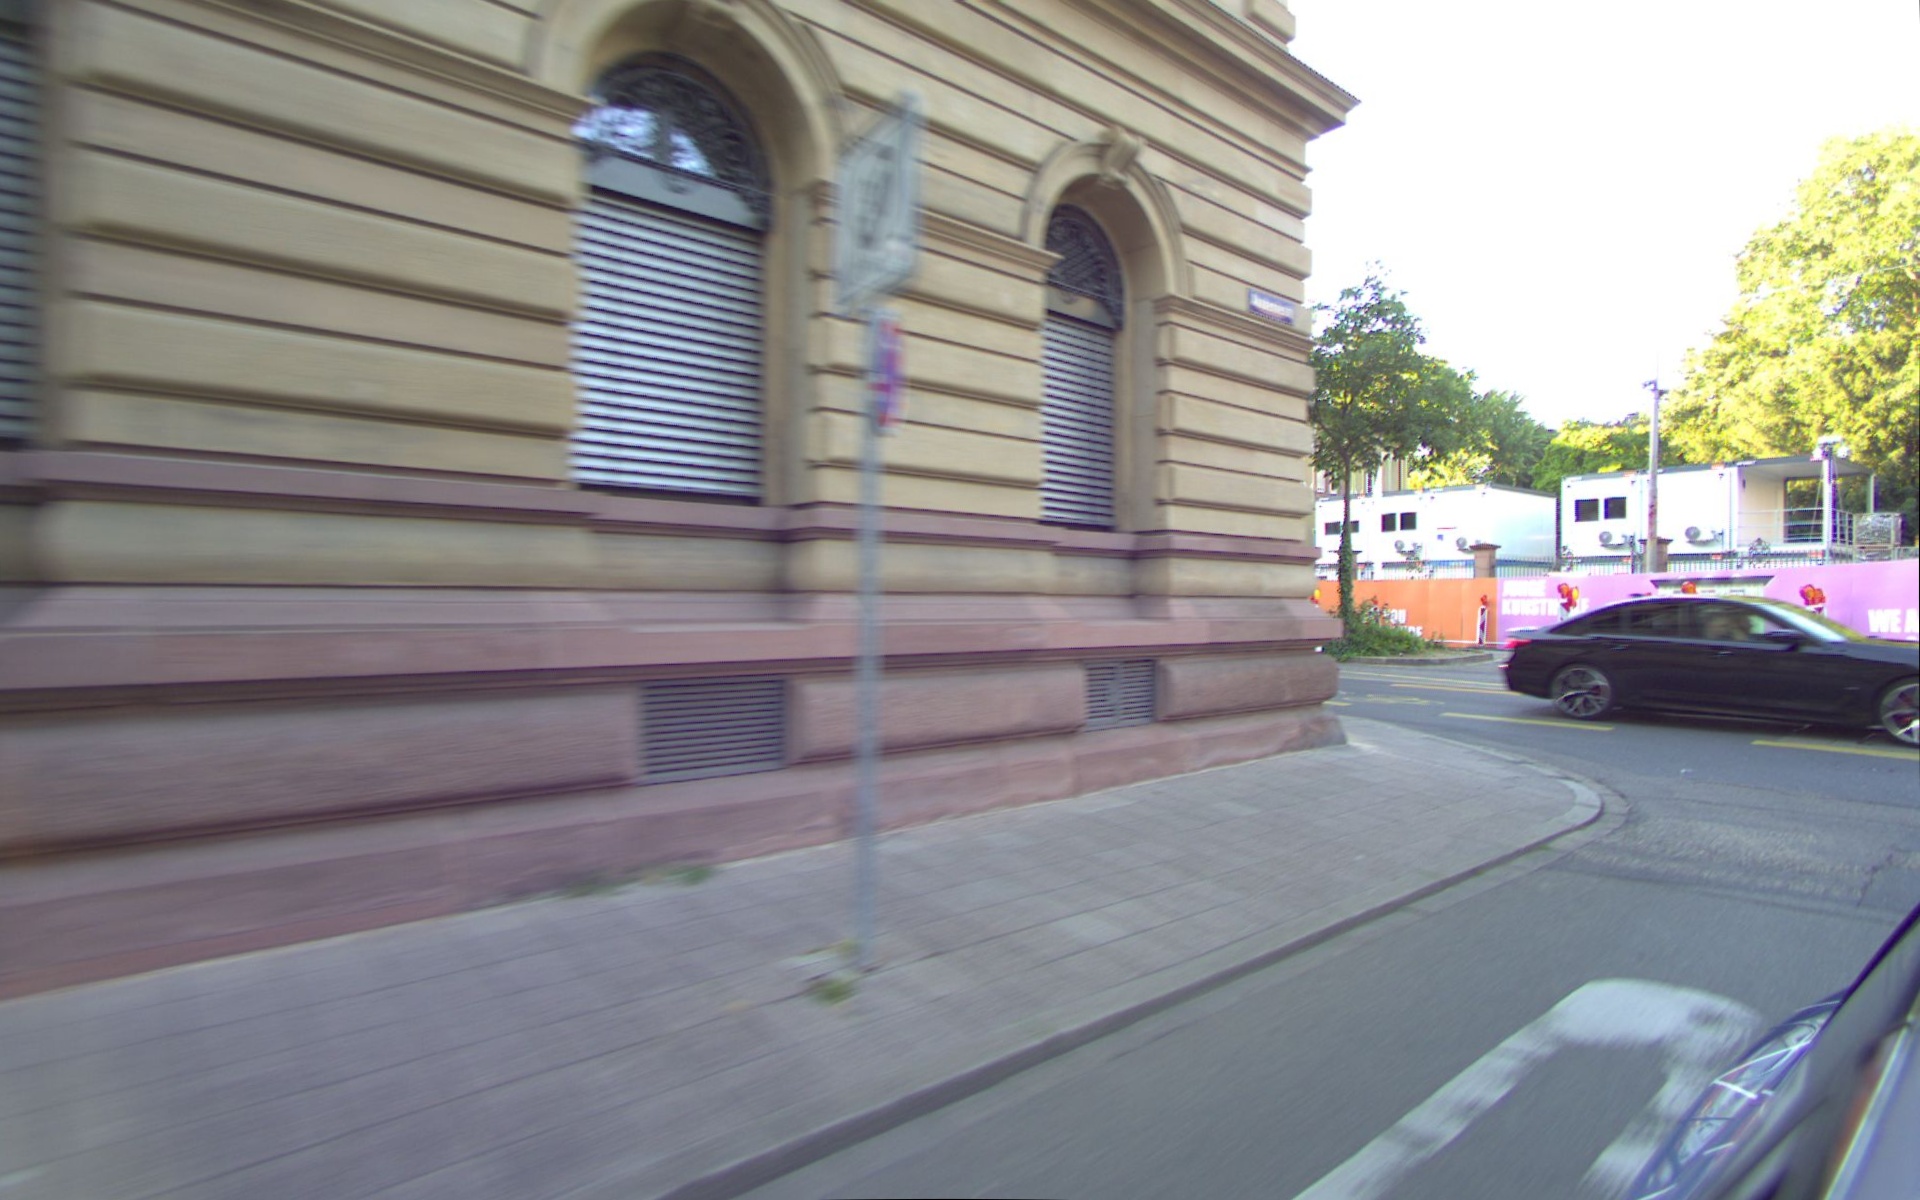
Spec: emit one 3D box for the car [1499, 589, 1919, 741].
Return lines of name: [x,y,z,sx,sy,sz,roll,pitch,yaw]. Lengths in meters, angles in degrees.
car: [8.825,0.581,11.127,1.928,1.404,4.781,0,1,-35]
